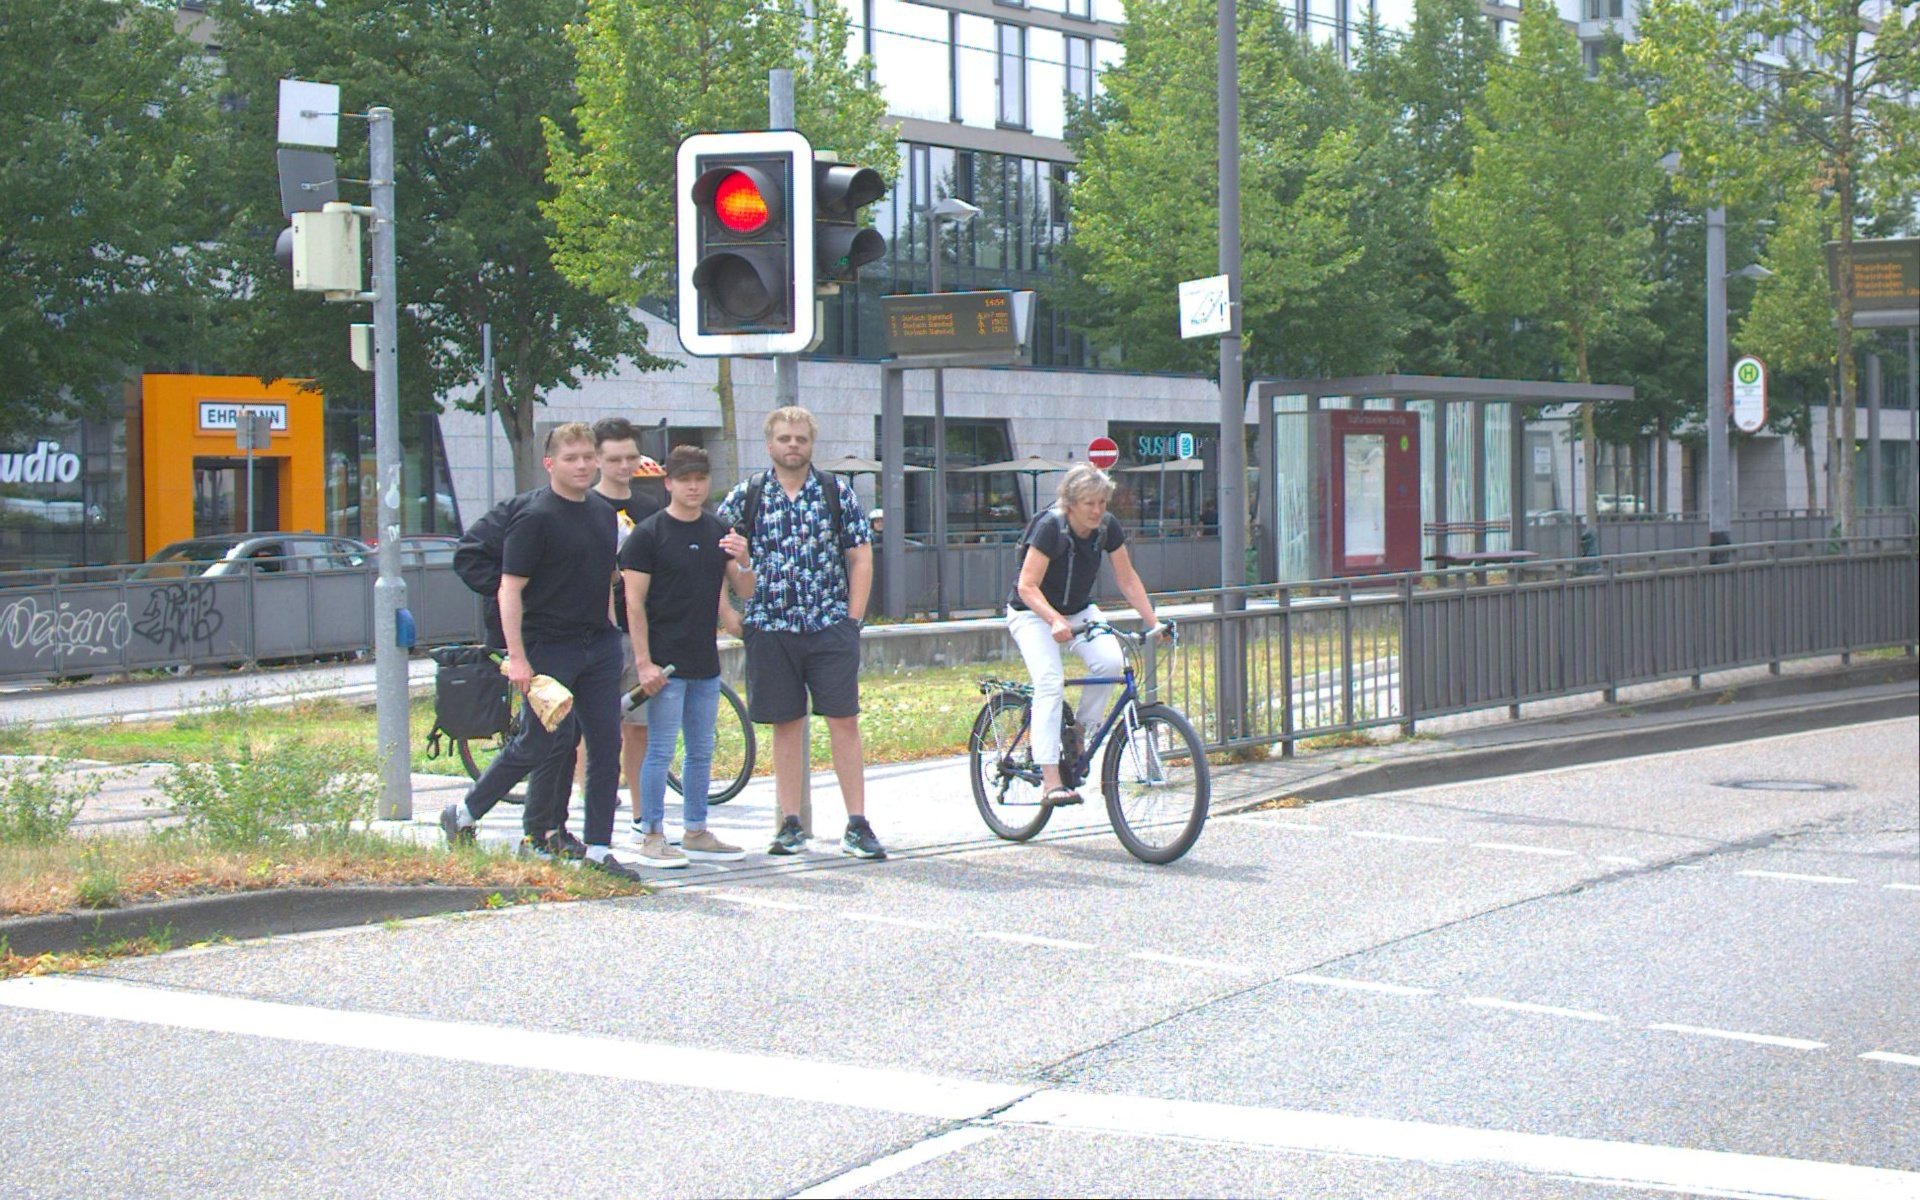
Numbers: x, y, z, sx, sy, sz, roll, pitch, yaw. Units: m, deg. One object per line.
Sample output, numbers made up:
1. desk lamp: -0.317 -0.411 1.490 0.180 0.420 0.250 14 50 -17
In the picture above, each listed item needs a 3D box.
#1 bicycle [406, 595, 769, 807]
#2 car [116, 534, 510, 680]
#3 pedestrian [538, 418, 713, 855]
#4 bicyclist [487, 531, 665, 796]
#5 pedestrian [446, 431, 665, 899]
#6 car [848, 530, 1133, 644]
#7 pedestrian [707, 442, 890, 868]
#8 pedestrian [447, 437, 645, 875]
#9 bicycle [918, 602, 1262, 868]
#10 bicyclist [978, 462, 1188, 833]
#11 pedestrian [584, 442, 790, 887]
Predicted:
1. bicycle: -1.904 0.495 17.543 1.753 1.003 0.653 1 1 24
2. car: -6.961 0.032 37.306 1.847 1.453 3.992 1 2 37
3. pedestrian: -1.453 0.145 14.959 0.552 1.855 0.530 1 1 30
4. bicyclist: -1.957 0.309 17.544 0.674 1.312 0.639 1 1 24
5. pedestrian: -1.577 0.235 13.451 0.552 1.775 0.689 1 1 30
6. car: 0.454 -0.210 46.544 1.847 1.453 3.992 1 2 37
7. pedestrian: -0.687 0.220 14.694 0.552 1.775 0.579 1 1 30
8. pedestrian: -1.726 0.216 14.347 0.552 1.775 0.632 1 1 30
9. bicycle: 0.543 0.558 15.042 0.547 1.054 1.713 -1 2 -37
10. bicyclist: 0.532 0.189 15.060 0.559 1.575 0.765 -1 2 -37
11. pedestrian: -1.121 0.248 14.162 0.552 1.775 0.689 1 1 30
